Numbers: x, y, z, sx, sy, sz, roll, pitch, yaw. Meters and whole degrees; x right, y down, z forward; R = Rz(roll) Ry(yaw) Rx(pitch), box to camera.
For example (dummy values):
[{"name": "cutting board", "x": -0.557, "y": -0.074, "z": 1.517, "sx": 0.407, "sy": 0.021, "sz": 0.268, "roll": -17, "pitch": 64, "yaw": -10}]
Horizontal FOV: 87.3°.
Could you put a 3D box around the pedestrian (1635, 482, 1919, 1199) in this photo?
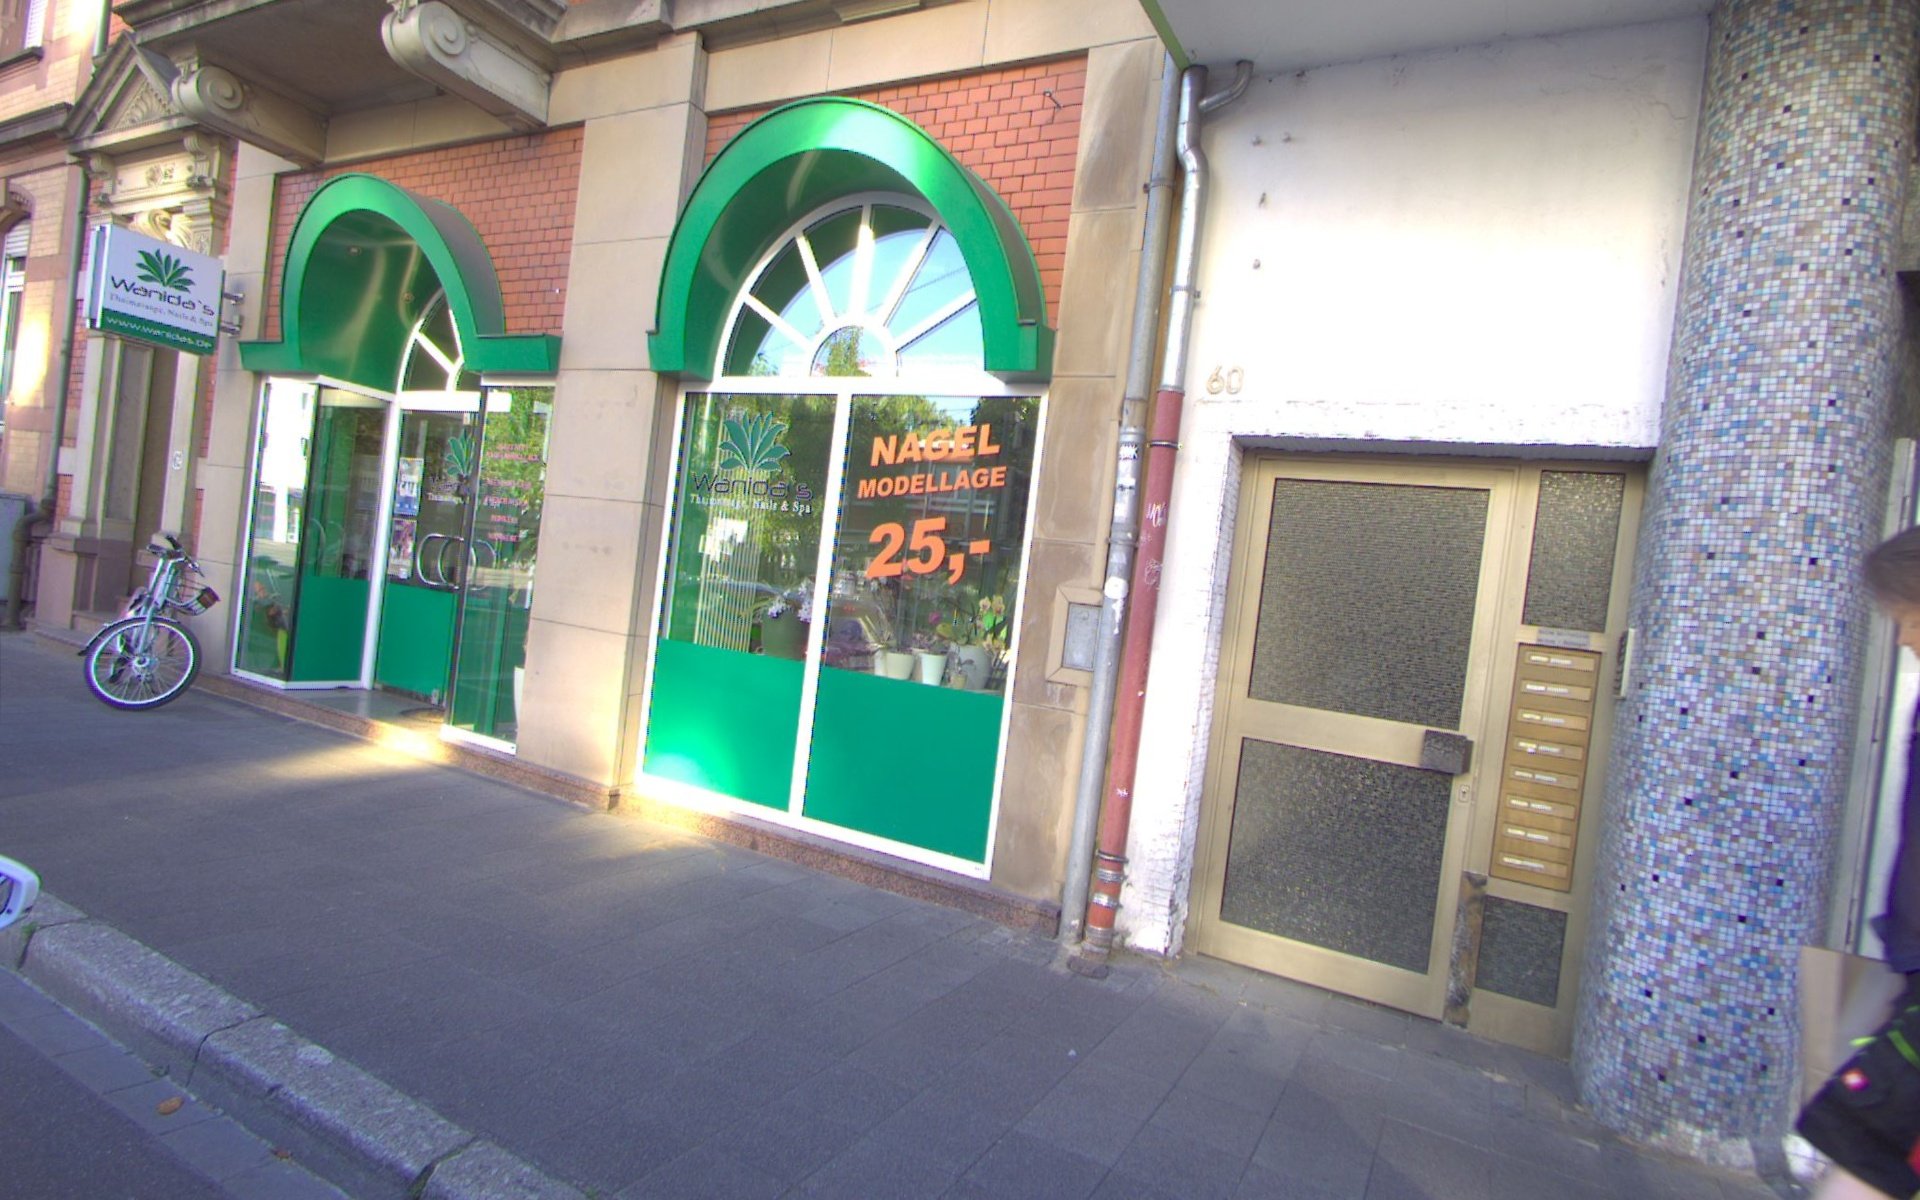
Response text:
[{"name": "pedestrian", "x": 2.114, "y": 0.771, "z": 1.973, "sx": 1.036, "sy": 1.816, "sz": 0.947, "roll": 7, "pitch": 2, "yaw": 28}]

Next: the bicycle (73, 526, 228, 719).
[{"name": "bicycle", "x": -5.794, "y": 0.126, "z": 7.161, "sx": 0.712, "sy": 1.167, "sz": 1.635, "roll": 4, "pitch": 2, "yaw": -42}]
